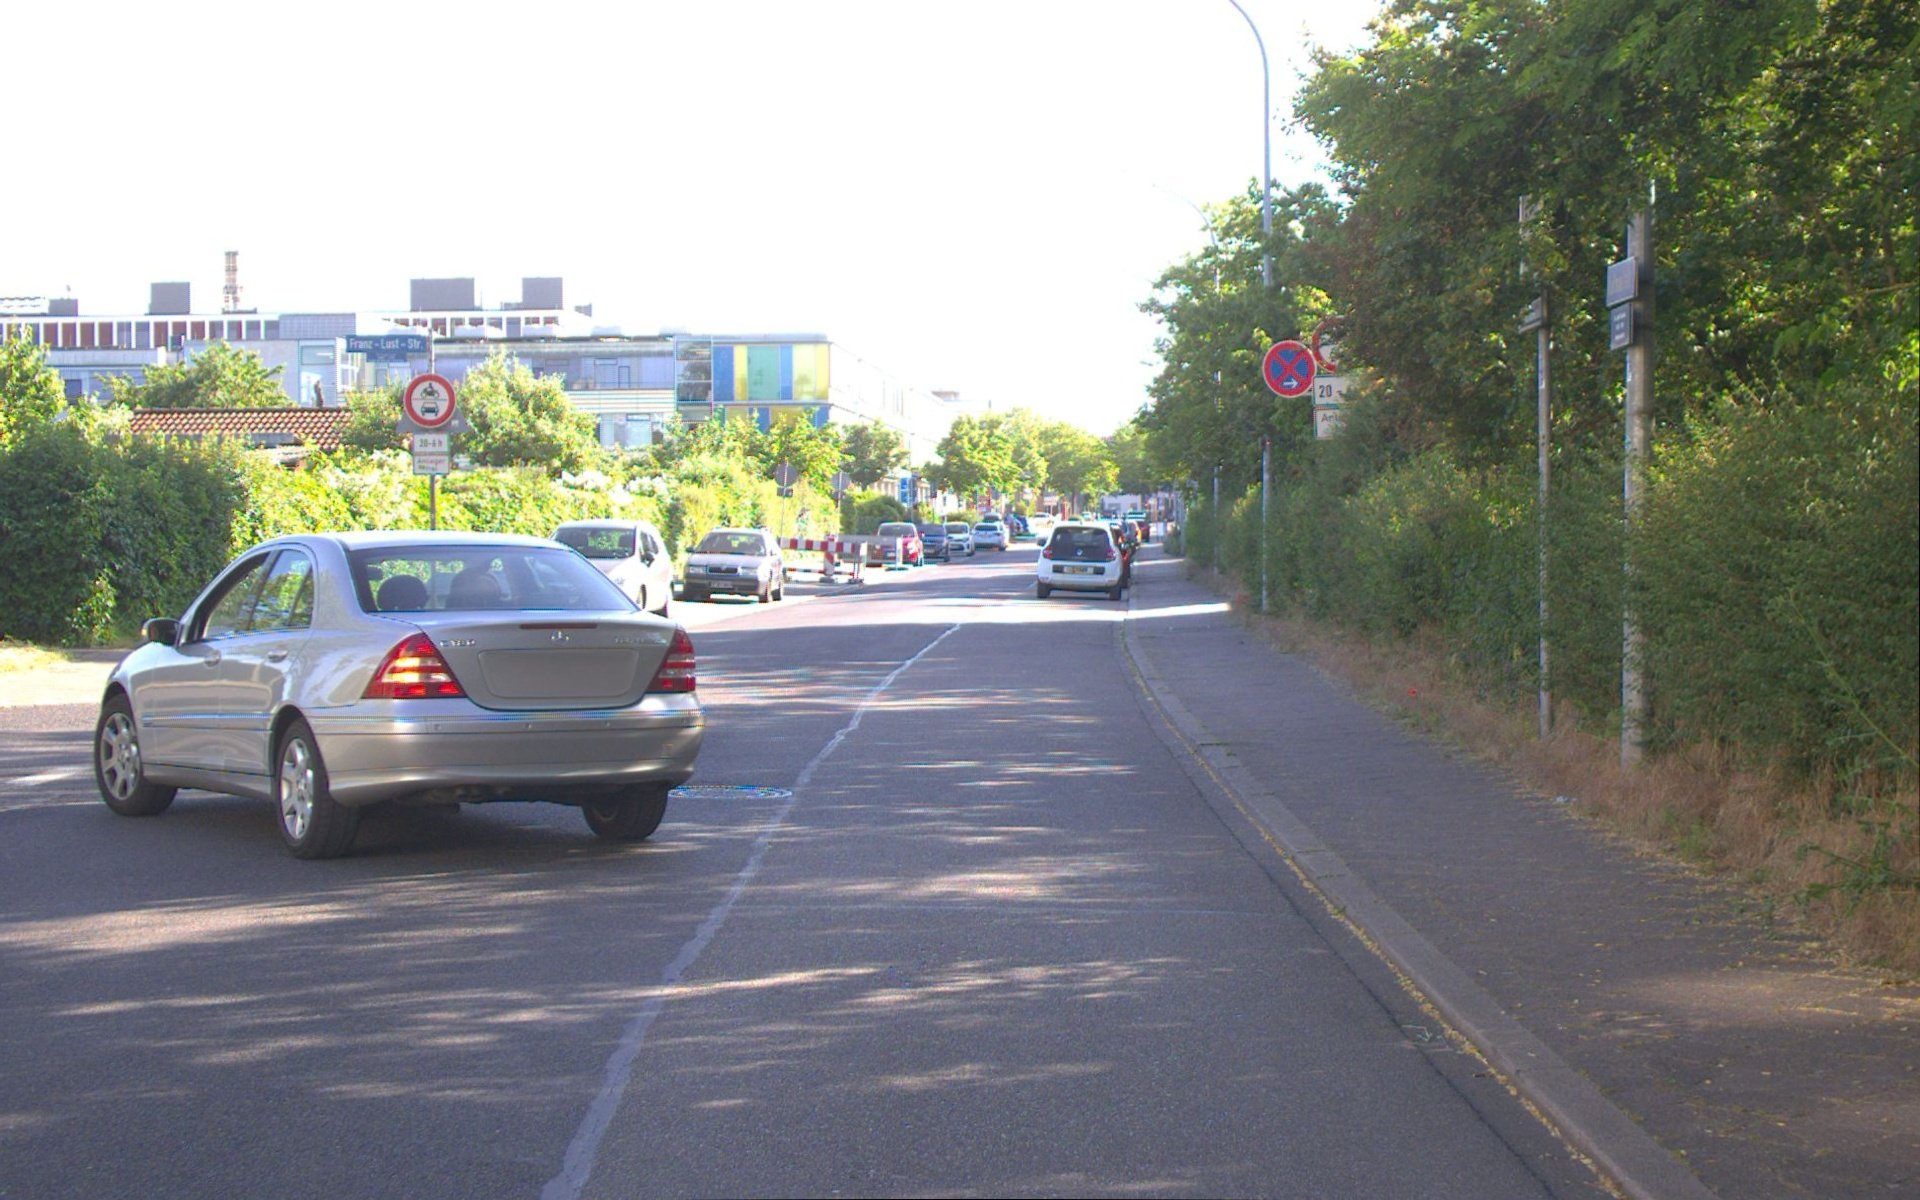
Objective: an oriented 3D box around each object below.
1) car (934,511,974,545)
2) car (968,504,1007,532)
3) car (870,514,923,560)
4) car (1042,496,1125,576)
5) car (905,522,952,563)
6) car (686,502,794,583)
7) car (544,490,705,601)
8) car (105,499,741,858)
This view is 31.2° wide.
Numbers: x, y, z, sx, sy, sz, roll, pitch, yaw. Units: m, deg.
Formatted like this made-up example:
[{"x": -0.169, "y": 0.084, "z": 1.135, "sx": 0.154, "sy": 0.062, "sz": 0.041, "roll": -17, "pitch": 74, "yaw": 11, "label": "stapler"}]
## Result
[{"x": -0.256, "y": -3.179, "z": 151.604, "sx": 1.560, "sy": 1.489, "sz": 3.758, "roll": -1, "pitch": 1, "yaw": 3, "label": "car"}, {"x": 1.438, "y": -4.330, "z": 180.838, "sx": 1.854, "sy": 1.423, "sz": 4.134, "roll": 1, "pitch": 1, "yaw": 3, "label": "car"}, {"x": -2.133, "y": -2.142, "z": 116.435, "sx": 1.560, "sy": 1.489, "sz": 3.570, "roll": -1, "pitch": 1, "yaw": 3, "label": "car"}, {"x": 2.509, "y": -1.295, "z": 69.446, "sx": 1.556, "sy": 1.533, "sz": 3.555, "roll": 2, "pitch": 1, "yaw": 3, "label": "car"}, {"x": -1.212, "y": -2.258, "z": 134.600, "sx": 1.560, "sy": 1.489, "sz": 3.570, "roll": 2, "pitch": 1, "yaw": 3, "label": "car"}, {"x": -4.398, "y": -1.164, "z": 69.285, "sx": 1.643, "sy": 1.551, "sz": 4.417, "roll": -1, "pitch": 1, "yaw": 3, "label": "car"}, {"x": -5.045, "y": -0.839, "z": 52.203, "sx": 1.644, "sy": 1.594, "sz": 4.311, "roll": 1, "pitch": 1, "yaw": 5, "label": "car"}, {"x": -2.661, "y": 0.258, "z": 16.240, "sx": 1.737, "sy": 1.448, "sz": 4.001, "roll": -2, "pitch": 2, "yaw": -28, "label": "car"}]
